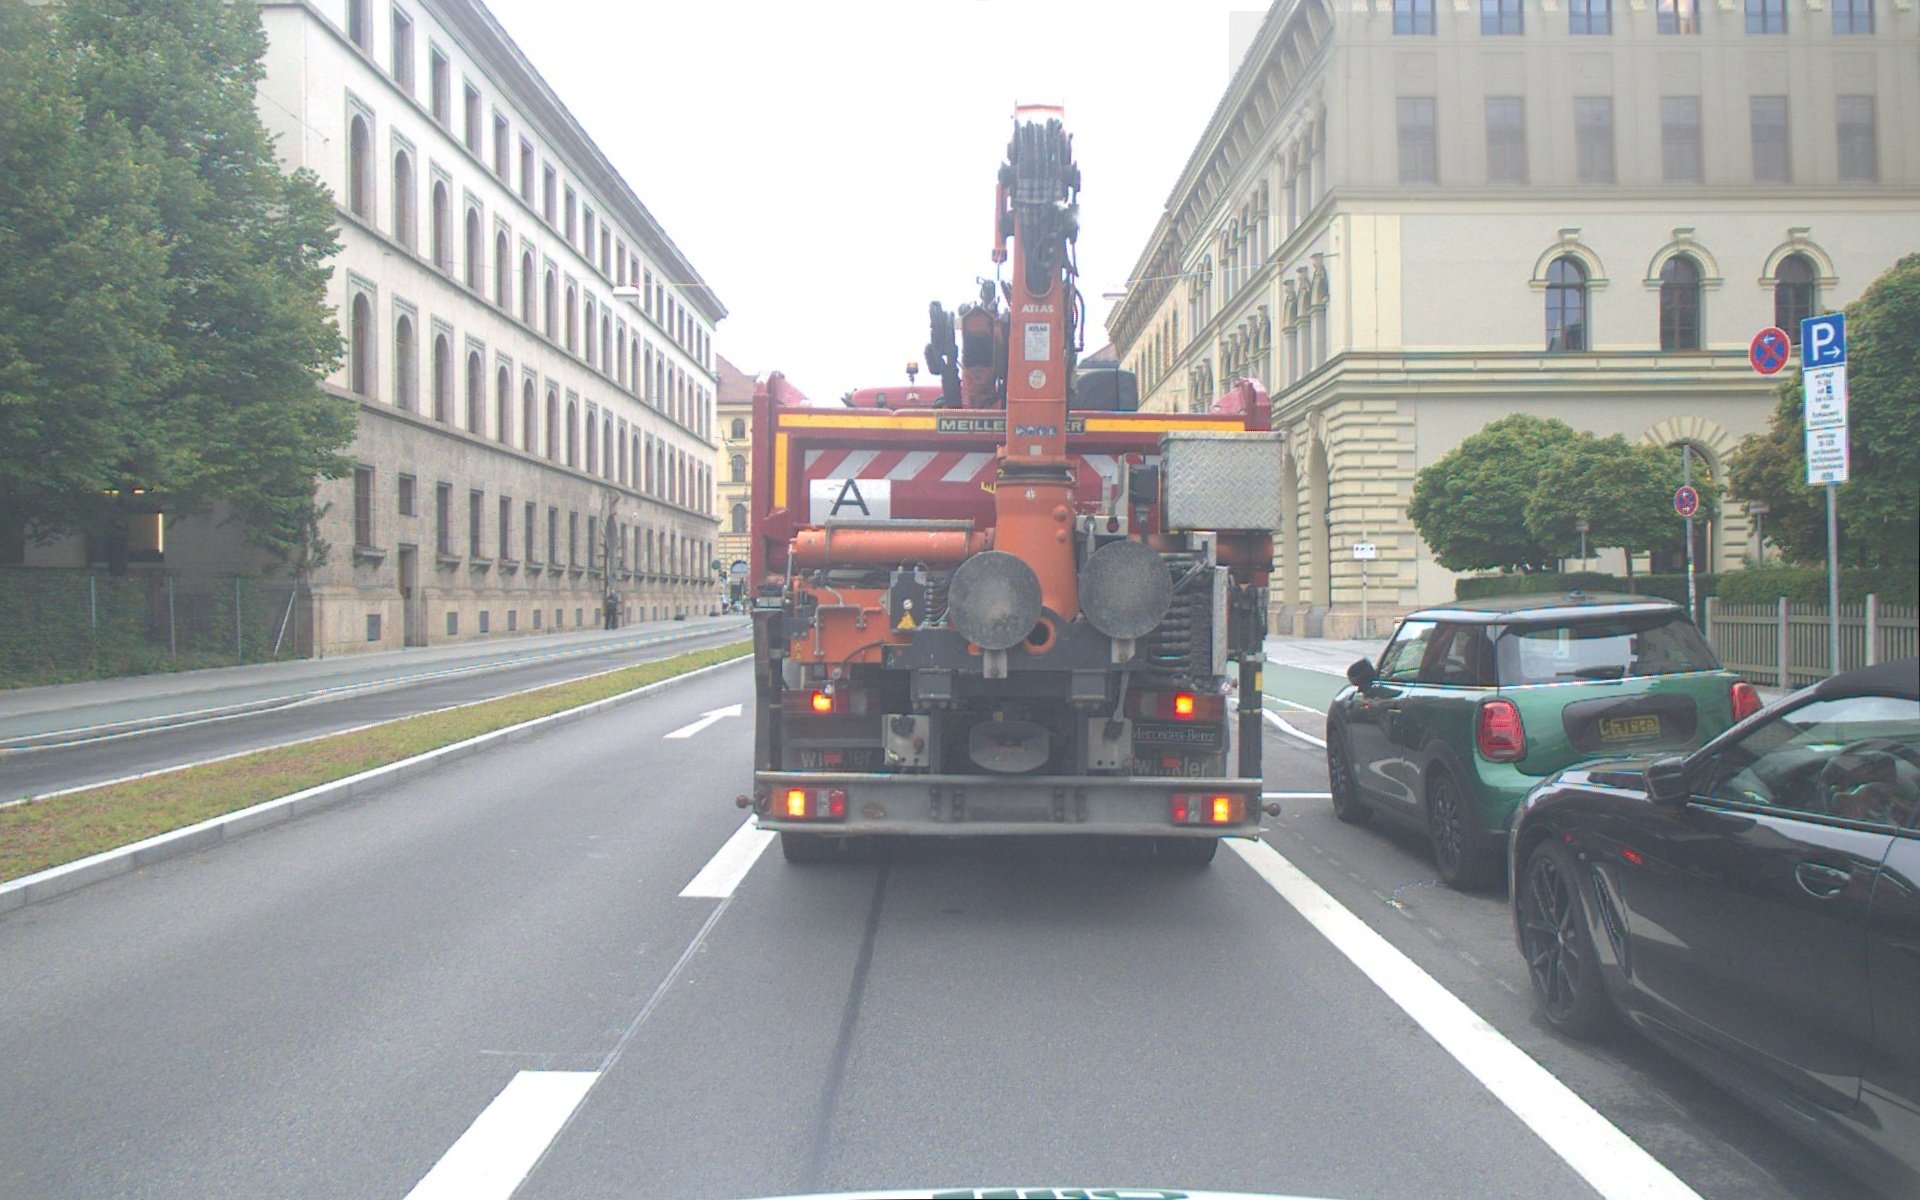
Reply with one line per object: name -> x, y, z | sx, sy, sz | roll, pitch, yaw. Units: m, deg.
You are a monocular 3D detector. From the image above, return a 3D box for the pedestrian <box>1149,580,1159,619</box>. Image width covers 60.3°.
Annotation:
pedestrian -> 9.307, -0.039, 79.371 | 0.436, 1.868, 0.556 | -1, 0, 1

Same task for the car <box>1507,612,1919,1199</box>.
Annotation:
car -> 2.887, 0.774, 3.993 | 1.646, 1.410, 4.426 | 1, 0, 0

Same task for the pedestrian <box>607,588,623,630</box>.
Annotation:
pedestrian -> -15.346, 0.409, 73.573 | 0.577, 1.863, 0.498 | 0, 0, -2

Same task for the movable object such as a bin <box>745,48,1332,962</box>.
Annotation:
movable object such as a bin -> 0.265, -0.402, 9.610 | 2.374, 3.674, 5.850 | 0, 0, -1

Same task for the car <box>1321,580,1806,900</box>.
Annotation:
car -> 3.290, 0.665, 9.704 | 1.577, 1.521, 3.424 | -1, 0, 0
